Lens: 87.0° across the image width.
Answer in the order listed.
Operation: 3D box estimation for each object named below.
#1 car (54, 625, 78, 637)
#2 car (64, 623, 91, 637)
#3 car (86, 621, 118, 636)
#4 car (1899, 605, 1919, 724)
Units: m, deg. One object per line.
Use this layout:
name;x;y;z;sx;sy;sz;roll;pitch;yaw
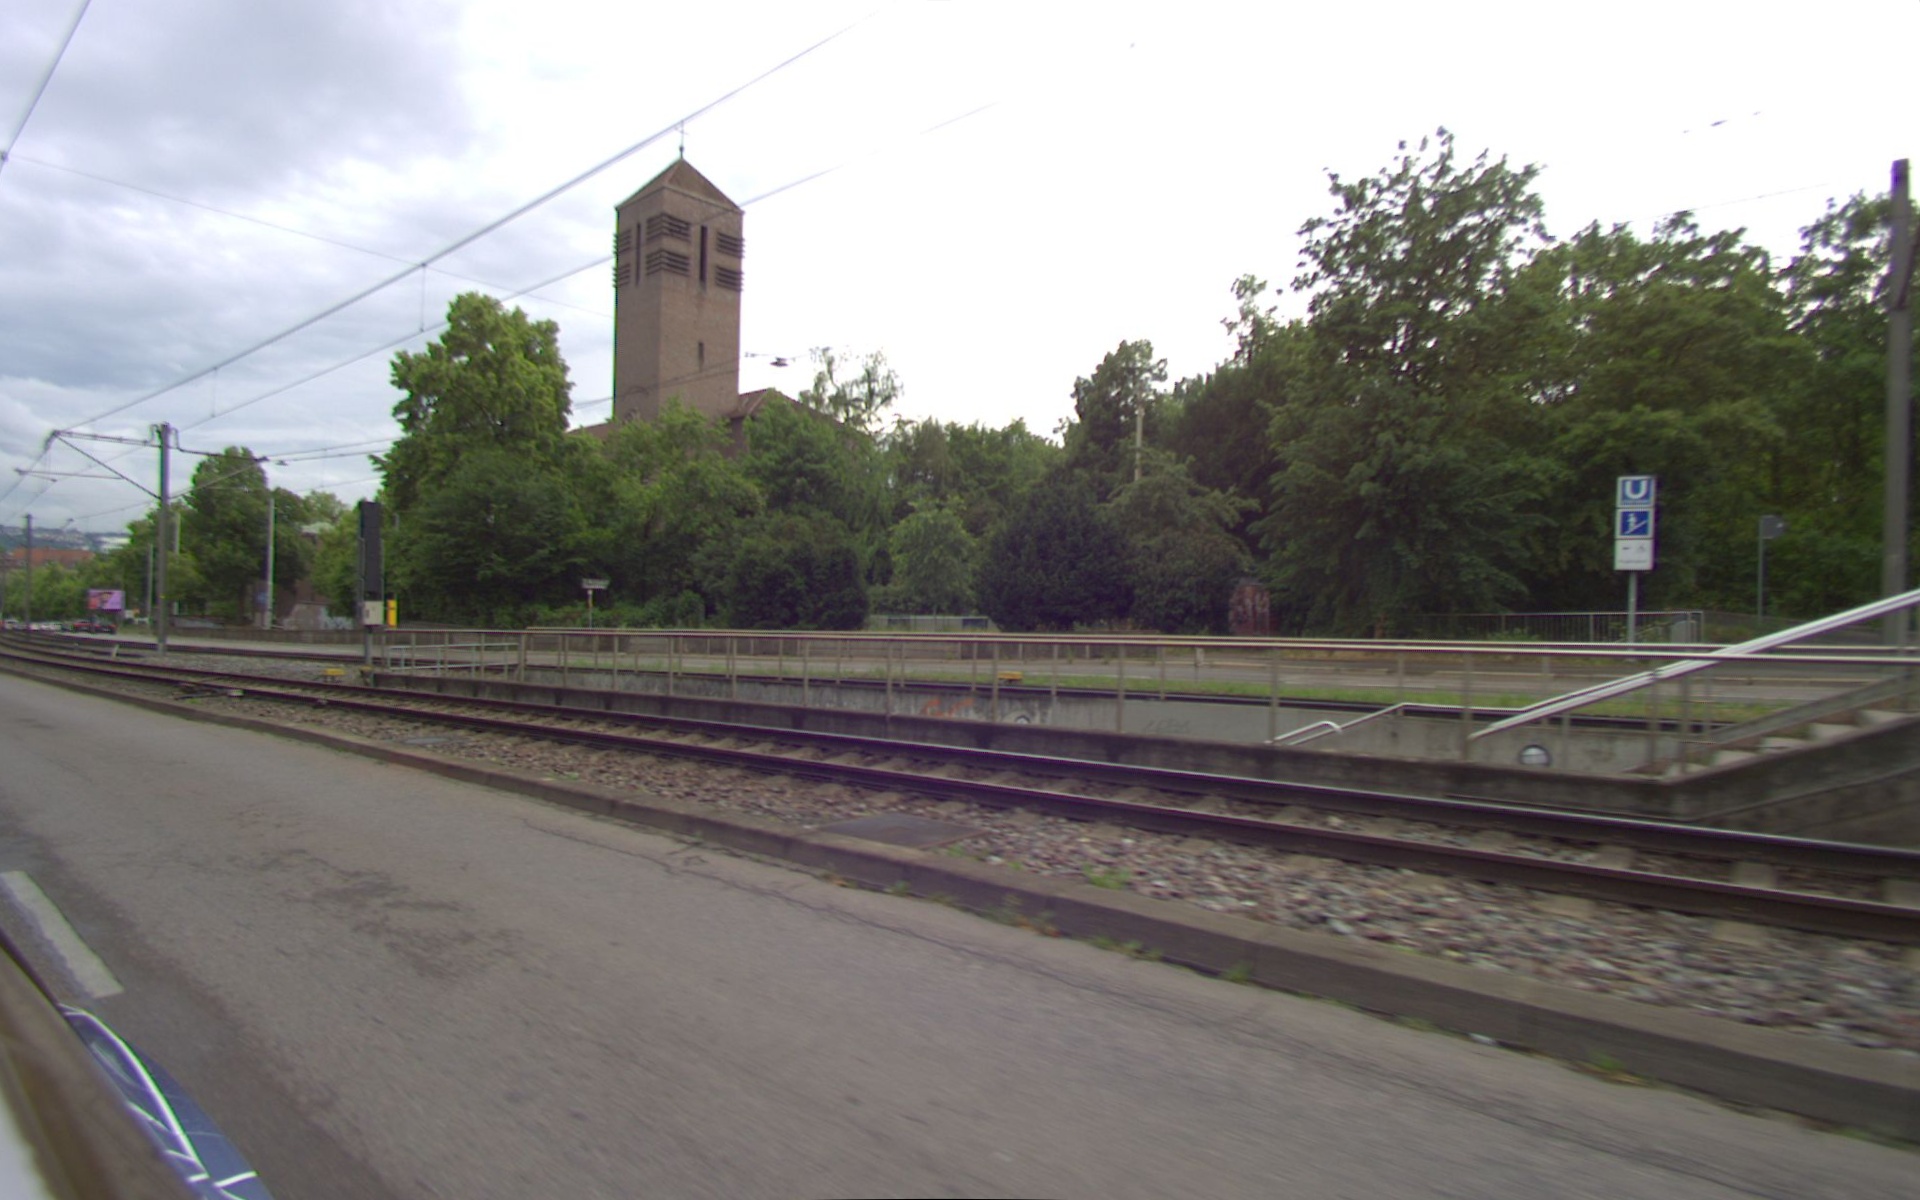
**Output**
car;-117.945;4.092;133.486;4.412;1.656;1.972;-2;-3;43
car;-106.822;3.647;122.496;4.524;1.656;1.972;-2;-3;43
car;-88.337;2.913;104.165;4.320;1.452;1.944;-1;-3;41
car;15.518;0.868;13.255;4.511;1.636;1.974;-1;-1;38
